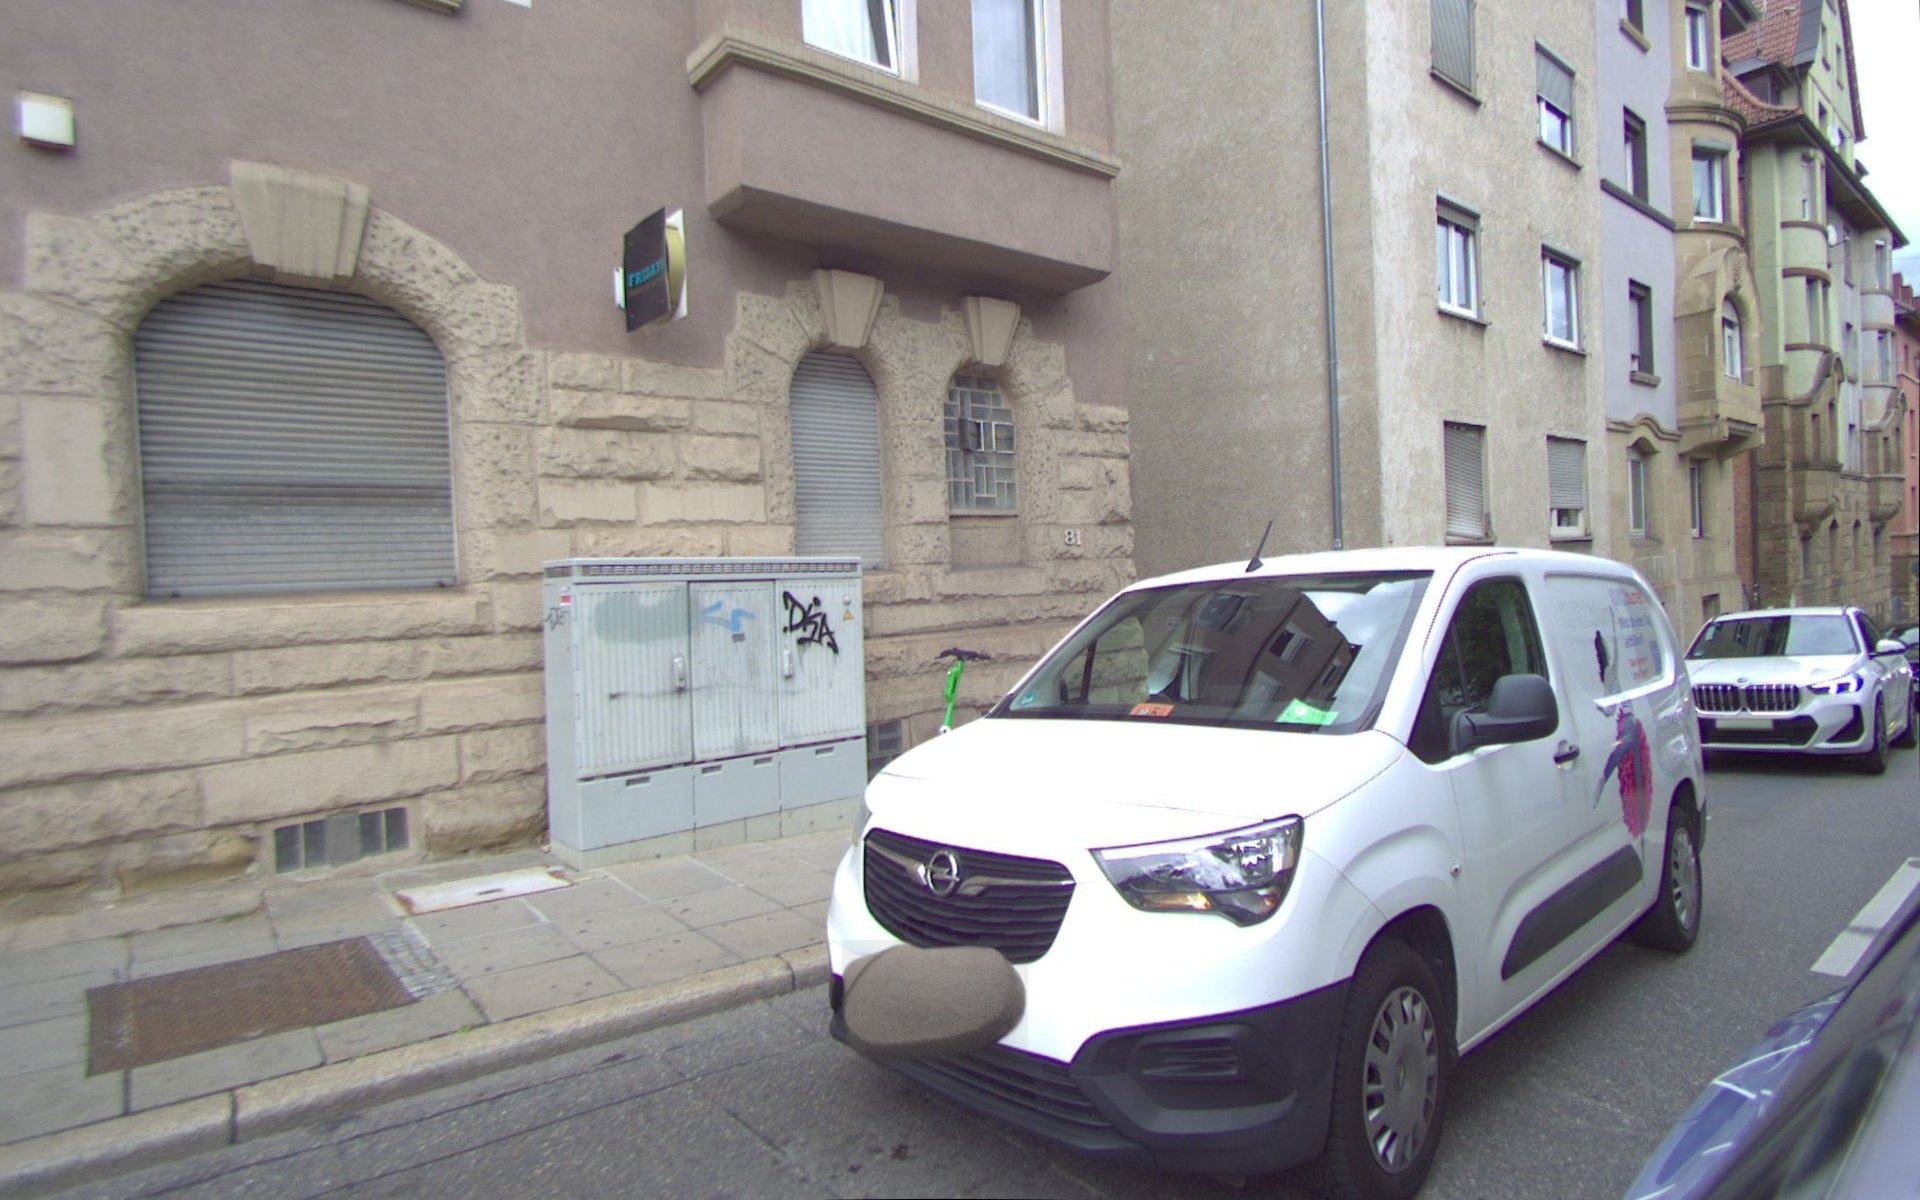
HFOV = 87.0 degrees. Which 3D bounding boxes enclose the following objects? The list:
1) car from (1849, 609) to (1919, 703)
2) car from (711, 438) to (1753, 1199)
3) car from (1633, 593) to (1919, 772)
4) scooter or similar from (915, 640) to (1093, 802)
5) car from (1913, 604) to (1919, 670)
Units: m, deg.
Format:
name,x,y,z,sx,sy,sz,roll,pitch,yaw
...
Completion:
name,x,y,z,sx,sy,sz,roll,pitch,yaw
car,16.049,0.831,16.383,4.132,1.395,1.881,0,-4,-41
car,1.532,0.638,4.226,4.597,1.799,1.977,0,-4,-43
car,9.149,0.789,11.057,4.276,1.576,1.856,0,-5,-42
scooter or similar,0.368,0.902,7.975,1.396,1.118,0.528,0,0,-38
car,21.700,0.776,21.193,4.226,1.535,1.935,0,-4,-40
